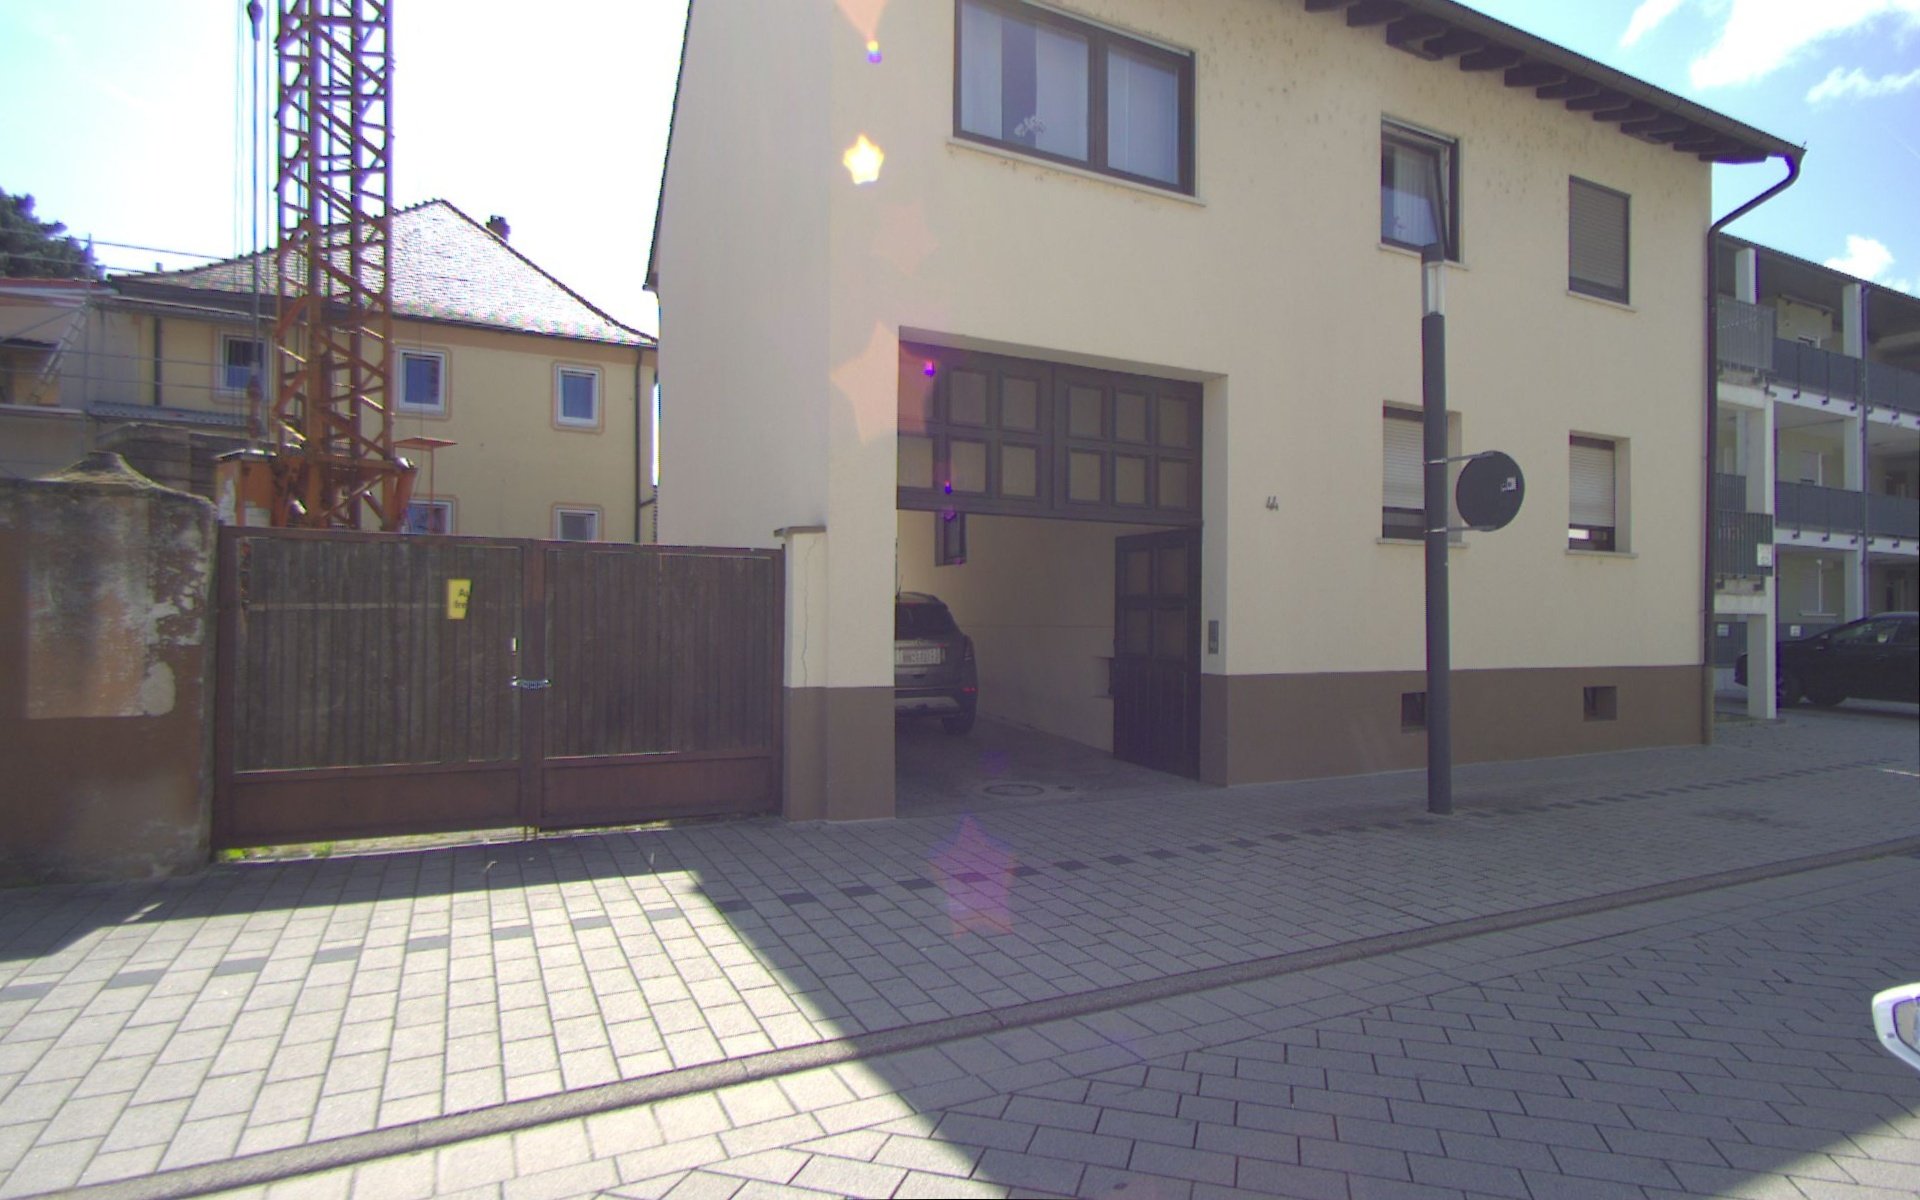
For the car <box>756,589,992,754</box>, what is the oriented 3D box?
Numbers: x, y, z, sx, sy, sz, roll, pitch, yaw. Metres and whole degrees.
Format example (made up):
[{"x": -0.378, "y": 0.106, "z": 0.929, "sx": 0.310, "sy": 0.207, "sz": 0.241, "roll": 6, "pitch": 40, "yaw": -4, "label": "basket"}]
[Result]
[{"x": -1.266, "y": 0.743, "z": 12.753, "sx": 1.862, "sy": 1.647, "sz": 3.978, "roll": 1, "pitch": 2, "yaw": -22, "label": "car"}]

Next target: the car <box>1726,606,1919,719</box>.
[{"x": 15.237, "y": 0.987, "z": 16.228, "sx": 1.761, "sy": 1.680, "sz": 4.203, "roll": 1, "pitch": 1, "yaw": -27, "label": "car"}]
